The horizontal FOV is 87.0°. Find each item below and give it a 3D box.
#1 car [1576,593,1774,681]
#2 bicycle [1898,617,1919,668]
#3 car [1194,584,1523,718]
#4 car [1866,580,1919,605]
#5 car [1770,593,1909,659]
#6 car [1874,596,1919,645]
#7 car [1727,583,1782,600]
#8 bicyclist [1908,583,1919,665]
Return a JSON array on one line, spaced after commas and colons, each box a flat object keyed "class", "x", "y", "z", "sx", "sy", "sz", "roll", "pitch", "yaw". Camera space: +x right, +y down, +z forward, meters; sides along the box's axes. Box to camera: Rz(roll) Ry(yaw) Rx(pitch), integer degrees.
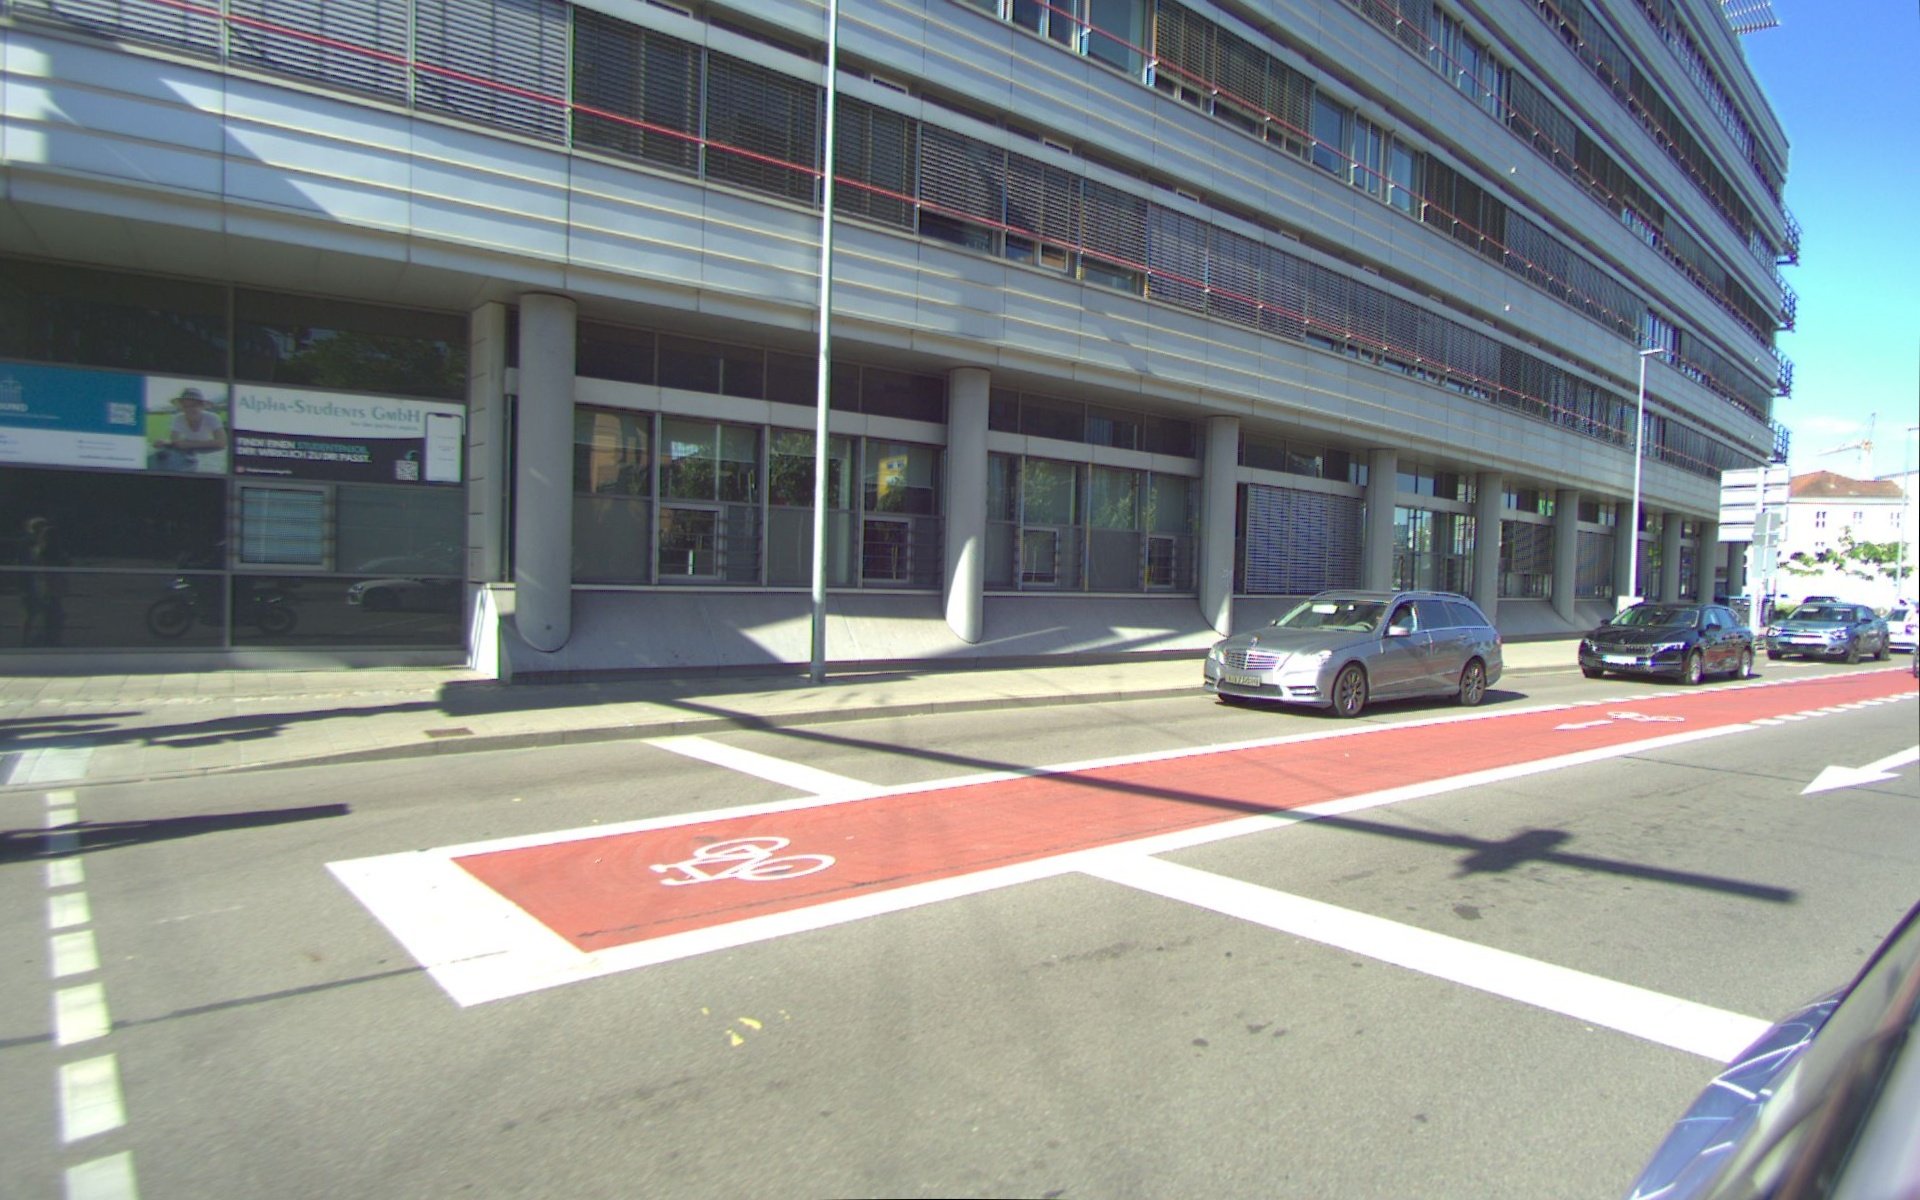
[{"class": "car", "x": 13.541, "y": 0.620, "z": 19.072, "sx": 4.551, "sy": 1.440, "sz": 1.727, "roll": 0, "pitch": 2, "yaw": -37}, {"class": "bicycle", "x": 20.776, "y": 0.888, "z": 21.428, "sx": 1.853, "sy": 1.050, "sz": 0.829, "roll": 0, "pitch": 0, "yaw": -30}, {"class": "car", "x": 5.294, "y": 0.547, "z": 13.152, "sx": 4.698, "sy": 1.413, "sz": 1.727, "roll": 0, "pitch": 2, "yaw": -36}, {"class": "car", "x": 81.398, "y": -0.647, "z": 87.107, "sx": 1.835, "sy": 2.006, "sz": 4.666, "roll": 1, "pitch": 2, "yaw": -20}, {"class": "car", "x": 22.924, "y": 0.621, "z": 26.332, "sx": 4.315, "sy": 1.543, "sz": 1.727, "roll": 0, "pitch": 2, "yaw": -36}, {"class": "car", "x": 29.531, "y": 0.606, "z": 30.629, "sx": 4.210, "sy": 1.421, "sz": 1.779, "roll": 0, "pitch": 0, "yaw": -33}, {"class": "car", "x": 79.892, "y": -0.896, "z": 101.829, "sx": 1.835, "sy": 1.575, "sz": 4.010, "roll": 1, "pitch": 2, "yaw": -15}, {"class": "bicyclist", "x": 20.603, "y": 0.512, "z": 21.200, "sx": 1.030, "sy": 1.714, "sz": 0.810, "roll": 1, "pitch": 0, "yaw": -30}]
